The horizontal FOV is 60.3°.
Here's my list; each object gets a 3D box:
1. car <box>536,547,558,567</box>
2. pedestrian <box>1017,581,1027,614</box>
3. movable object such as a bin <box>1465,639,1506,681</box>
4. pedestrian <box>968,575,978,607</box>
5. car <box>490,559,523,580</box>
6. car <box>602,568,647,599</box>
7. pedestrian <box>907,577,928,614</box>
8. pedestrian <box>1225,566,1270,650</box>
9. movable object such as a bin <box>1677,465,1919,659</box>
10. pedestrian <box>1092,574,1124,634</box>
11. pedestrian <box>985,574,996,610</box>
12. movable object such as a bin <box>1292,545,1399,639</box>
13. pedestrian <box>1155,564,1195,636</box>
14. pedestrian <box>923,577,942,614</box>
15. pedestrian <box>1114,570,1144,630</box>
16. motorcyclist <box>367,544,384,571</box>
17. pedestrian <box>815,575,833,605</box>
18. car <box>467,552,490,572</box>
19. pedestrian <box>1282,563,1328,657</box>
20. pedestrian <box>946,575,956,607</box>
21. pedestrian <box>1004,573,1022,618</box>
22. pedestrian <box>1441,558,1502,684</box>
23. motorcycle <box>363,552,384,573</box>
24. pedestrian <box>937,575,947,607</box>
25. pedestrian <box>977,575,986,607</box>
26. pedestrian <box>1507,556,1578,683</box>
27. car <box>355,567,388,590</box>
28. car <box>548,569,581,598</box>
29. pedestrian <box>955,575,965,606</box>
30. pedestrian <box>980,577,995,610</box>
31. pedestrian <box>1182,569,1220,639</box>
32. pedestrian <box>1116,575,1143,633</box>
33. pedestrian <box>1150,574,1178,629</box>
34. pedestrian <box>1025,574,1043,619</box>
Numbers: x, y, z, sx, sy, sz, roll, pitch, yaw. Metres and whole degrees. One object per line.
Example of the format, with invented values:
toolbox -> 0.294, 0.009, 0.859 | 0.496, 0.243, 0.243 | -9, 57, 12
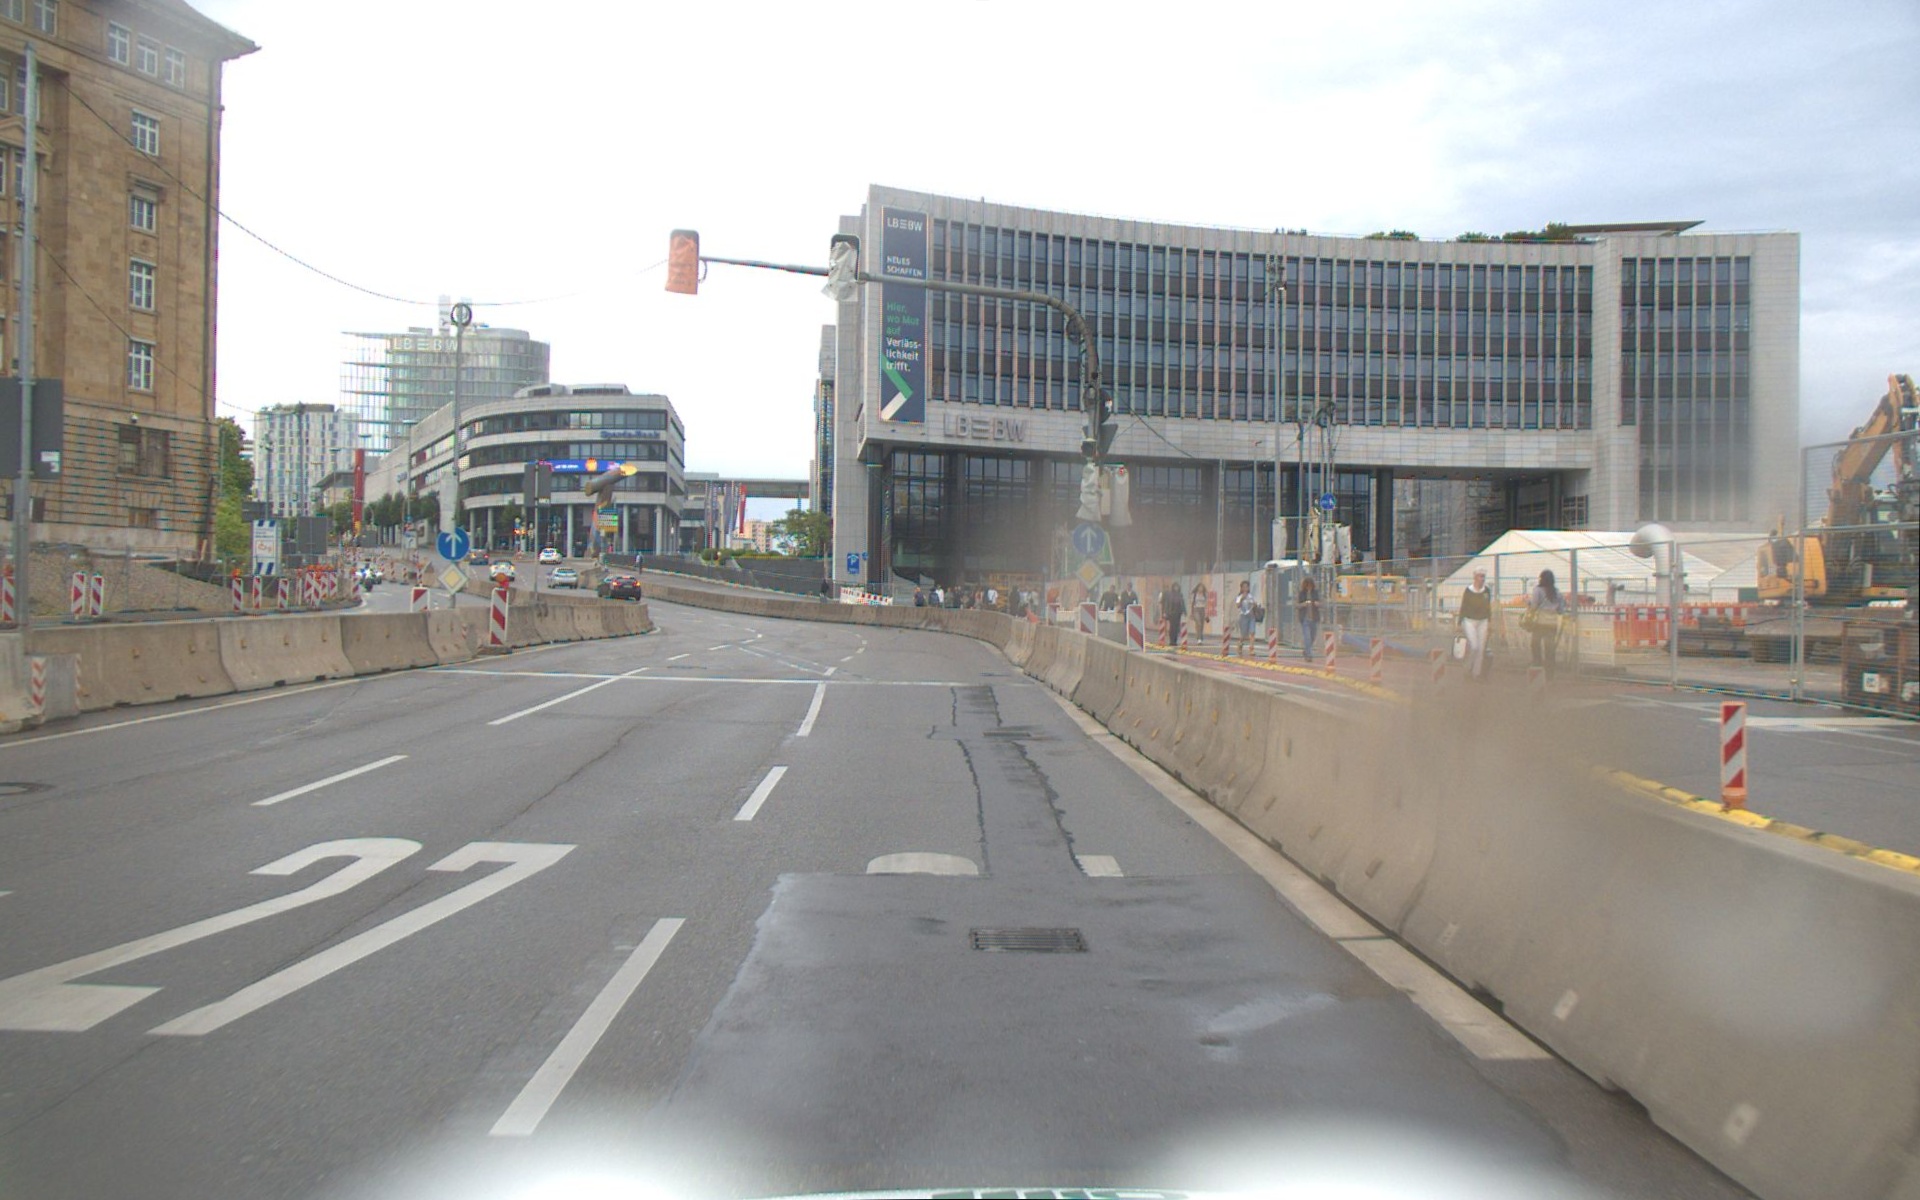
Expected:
car -> -40.258, -4.196, 161.227 | 1.961, 1.835, 4.247 | 1, 1, -16
pedestrian -> 3.243, -0.133, 86.461 | 0.439, 1.734, 0.646 | 1, 1, -4
movable object such as a bin -> 8.221, 0.936, 25.874 | 0.425, 0.635, 0.534 | 1, 0, -6
pedestrian -> 0.717, -0.499, 89.614 | 0.439, 1.734, 0.646 | 1, 1, -7
car -> -35.225, -2.336, 128.439 | 1.721, 1.532, 3.720 | 1, 0, -28
car -> -19.100, -0.927, 94.039 | 1.654, 1.535, 3.713 | 2, -2, -26
pedestrian -> -1.913, -0.212, 74.315 | 0.738, 1.670, 0.820 | 1, 0, -15
pedestrian -> 6.583, 0.178, 37.914 | 0.764, 1.894, 0.948 | 1, 0, -6
movable object such as a bin -> 16.688, -0.709, 32.572 | 3.844, 3.553, 4.359 | 0, 0, 11
pedestrian -> 4.630, 0.136, 51.808 | 0.803, 1.859, 1.110 | 0, 0, -5
pedestrian -> 1.579, -0.414, 86.476 | 0.518, 1.850, 0.536 | 1, 0, -3
movable object such as a bin -> 17.343, -0.361, 74.518 | 3.048, 4.100, 3.667 | 1, 0, -26
pedestrian -> 5.802, 0.000, 44.643 | 0.853, 1.894, 0.947 | 1, 0, -6
pedestrian -> -1.235, -0.211, 74.498 | 0.647, 1.670, 0.820 | 1, 0, -15
pedestrian -> 5.389, 0.005, 52.755 | 0.764, 1.894, 0.810 | 1, 0, -6
motorcyclist -> -33.512, -2.427, 94.796 | 0.789, 1.476, 0.818 | 1, 0, -28
pedestrian -> -8.141, -0.595, 99.239 | 0.746, 1.821, 1.049 | 1, 0, -24
car -> -45.650, -3.573, 156.827 | 1.961, 1.835, 4.247 | 1, 1, -16
pedestrian -> 7.143, 0.202, 34.279 | 0.676, 1.894, 0.810 | 1, 0, -6
pedestrian -> -0.507, -0.496, 90.642 | 0.445, 1.734, 0.646 | 1, 1, -7
pedestrian -> 2.493, -0.224, 77.413 | 0.768, 2.049, 0.863 | 1, 1, 4
pedestrian -> 7.857, 0.318, 25.412 | 0.652, 1.894, 0.682 | 1, 0, -6
motorcycle -> -33.619, -2.119, 94.813 | 0.859, 1.168, 2.135 | 1, 0, -27
pedestrian -> -0.966, -0.487, 90.534 | 0.439, 1.734, 0.646 | 1, 1, -7
pedestrian -> 1.161, -0.478, 89.286 | 0.438, 1.734, 0.647 | 1, 1, 6
pedestrian -> 8.889, 0.294, 25.240 | 0.771, 1.894, 0.682 | 1, 0, -7
car -> -41.162, -1.483, 115.649 | 1.583, 1.376, 3.719 | 2, -2, -28
car -> -27.450, -1.159, 114.710 | 1.714, 1.908, 3.753 | 1, 0, -22
pedestrian -> -0.002, -0.524, 90.739 | 0.439, 1.734, 0.646 | 1, 1, -7
pedestrian -> 1.476, -0.347, 87.852 | 0.508, 1.734, 0.566 | 1, 1, -40
pedestrian -> 6.643, 0.102, 45.672 | 0.764, 1.894, 1.057 | 1, 0, -6
pedestrian -> 5.615, 0.139, 54.897 | 0.718, 1.886, 0.830 | 1, 0, -4
pedestrian -> 7.050, 0.048, 57.176 | 0.764, 1.894, 0.810 | 0, 0, -6
pedestrian -> 3.473, -0.168, 77.313 | 0.768, 2.049, 0.863 | 1, 1, 4
